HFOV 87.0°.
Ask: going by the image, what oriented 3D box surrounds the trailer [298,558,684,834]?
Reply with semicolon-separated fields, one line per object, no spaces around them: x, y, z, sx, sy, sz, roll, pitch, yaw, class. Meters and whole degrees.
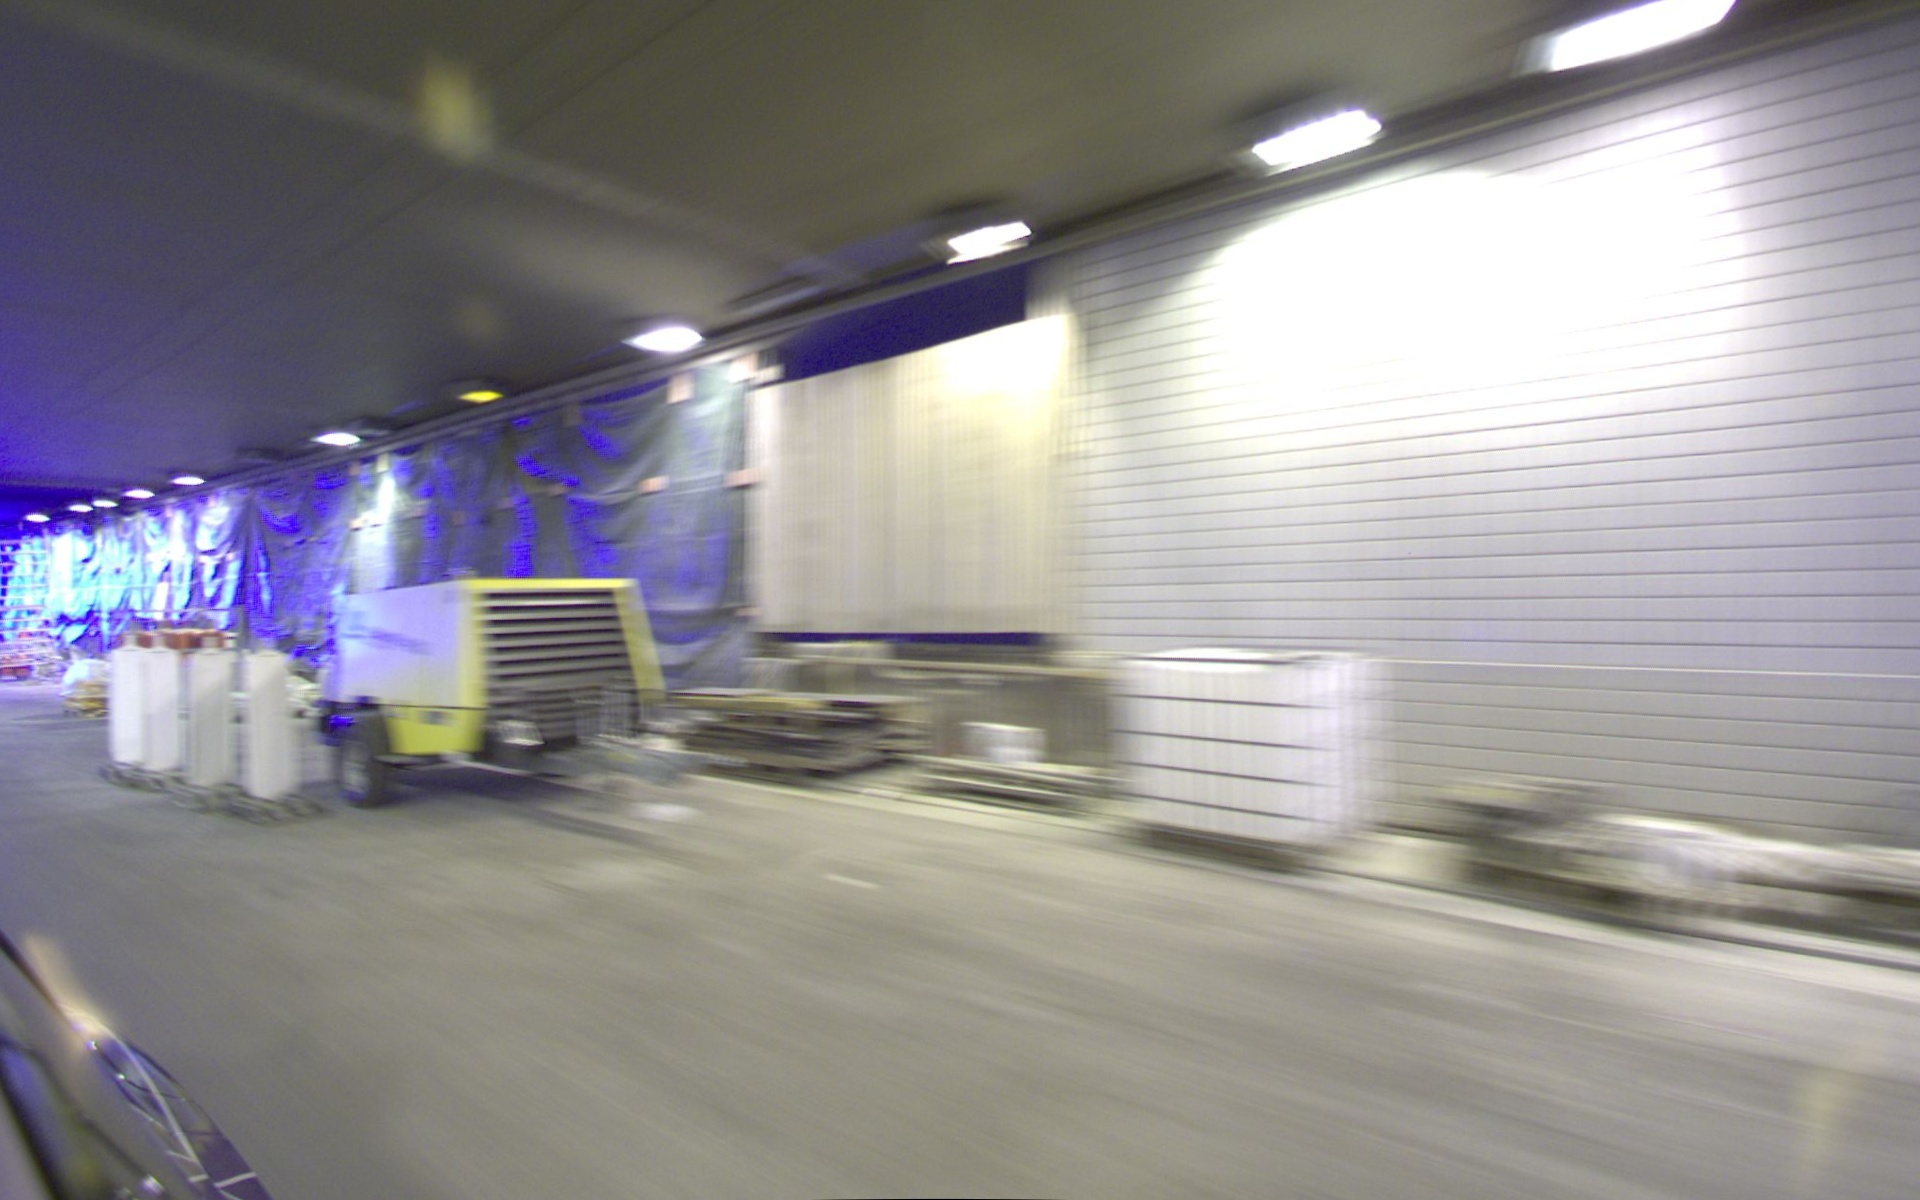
-3.878;0.641;8.242;3.118;1.804;1.624;-1;0;38;trailer
